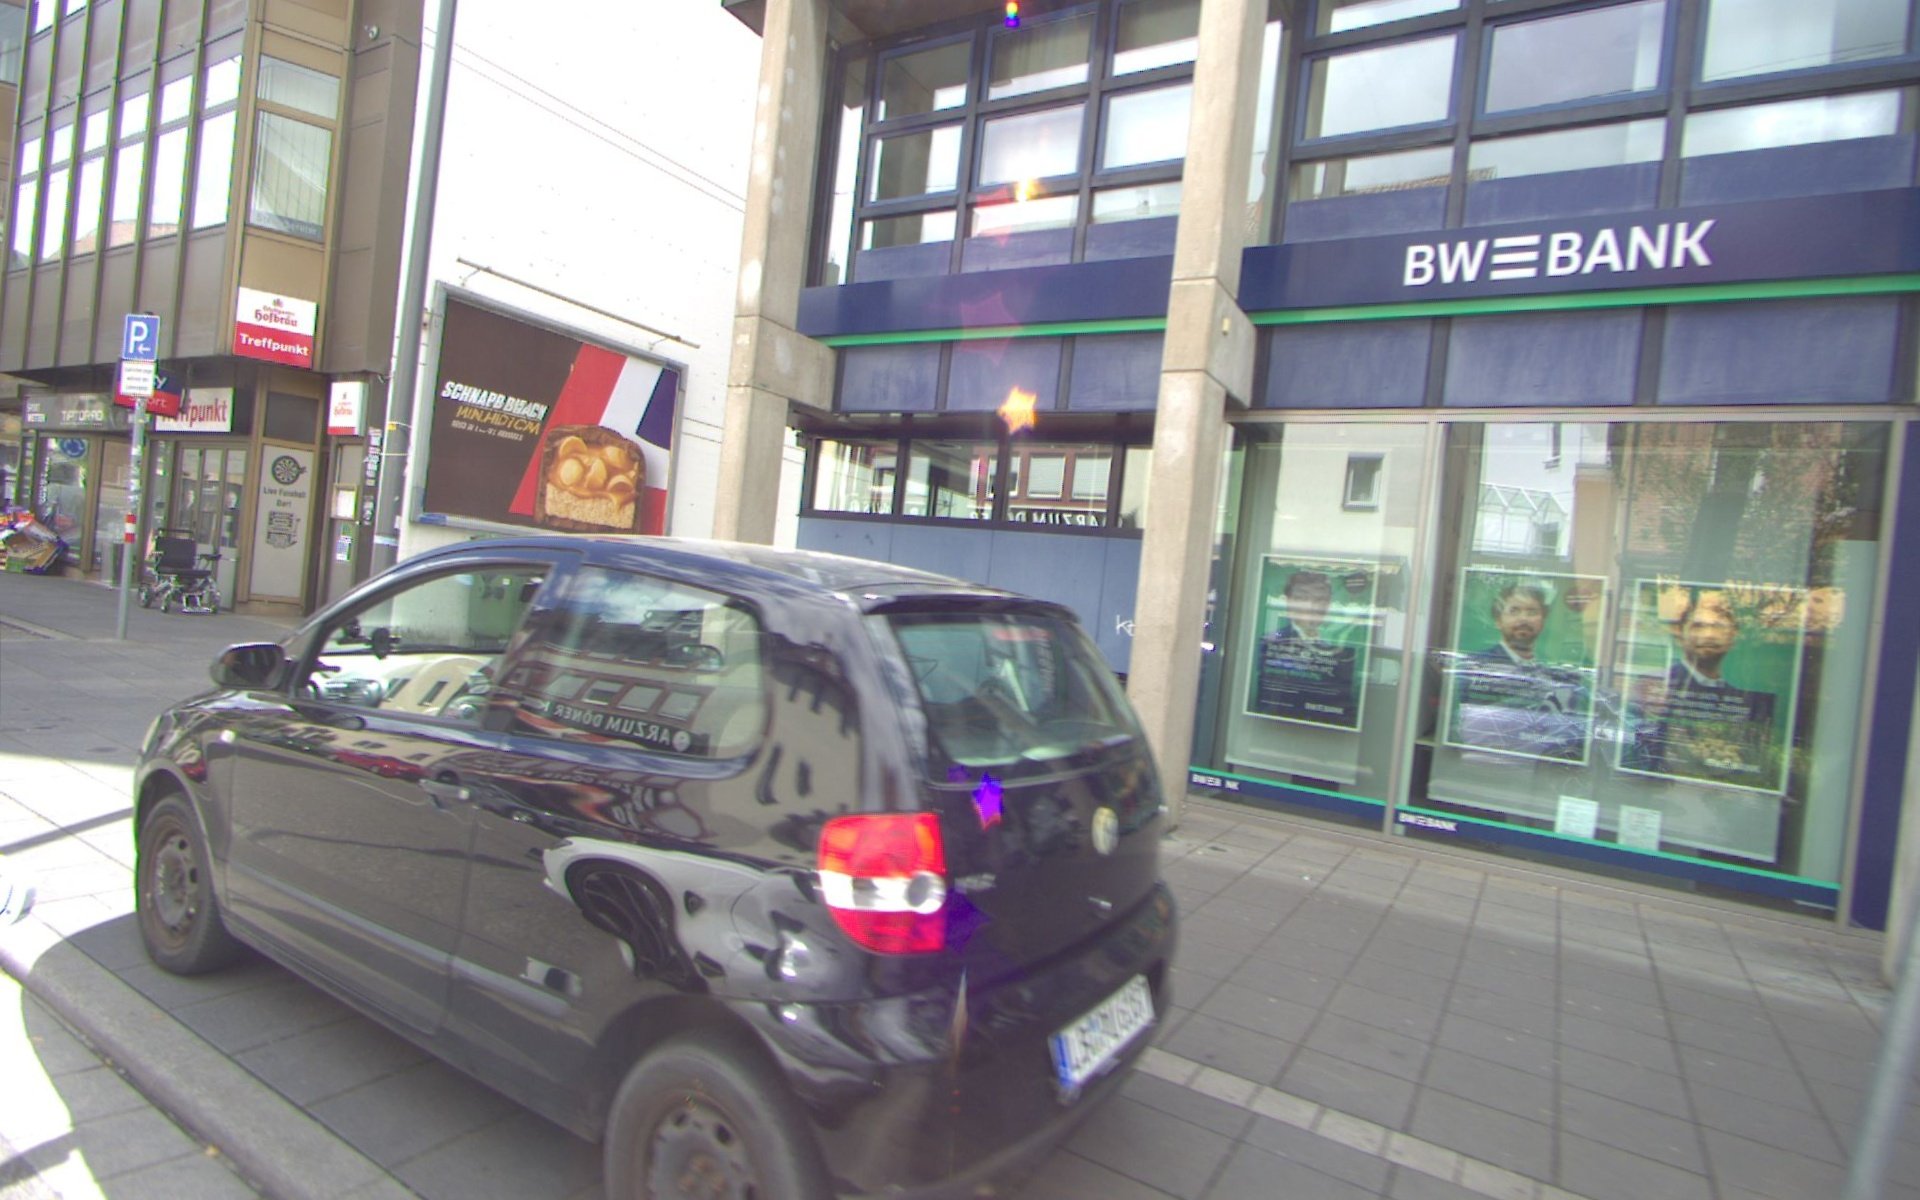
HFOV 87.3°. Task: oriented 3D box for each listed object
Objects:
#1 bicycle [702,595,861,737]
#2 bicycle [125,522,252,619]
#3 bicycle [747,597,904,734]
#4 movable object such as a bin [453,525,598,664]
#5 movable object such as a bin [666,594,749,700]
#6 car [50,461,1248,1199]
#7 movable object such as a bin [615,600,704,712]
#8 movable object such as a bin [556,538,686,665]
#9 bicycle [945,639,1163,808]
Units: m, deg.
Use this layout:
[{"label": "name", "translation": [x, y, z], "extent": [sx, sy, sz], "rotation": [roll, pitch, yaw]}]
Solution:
[{"label": "bicycle", "translation": [-1.677, 0.585, 9.347], "extent": [1.477, 1.095, 0.425], "rotation": [7, 2, 34]}, {"label": "bicycle", "translation": [-9.825, -0.377, 12.807], "extent": [1.452, 1.060, 0.721], "rotation": [6, -1, 32]}, {"label": "bicycle", "translation": [-1.327, 0.619, 9.789], "extent": [1.478, 1.132, 0.426], "rotation": [6, -1, 34]}, {"label": "movable object such as a bin", "translation": [-5.402, -0.057, 12.542], "extent": [1.015, 1.546, 1.143], "rotation": [6, -1, 34]}, {"label": "movable object such as a bin", "translation": [-2.606, 0.487, 10.382], "extent": [0.545, 1.011, 0.487], "rotation": [6, -1, 34]}, {"label": "car", "translation": [-1.226, 0.501, 3.278], "extent": [3.733, 1.552, 1.610], "rotation": [7, 1, 33]}, {"label": "movable object such as a bin", "translation": [-2.930, 0.547, 9.813], "extent": [0.545, 1.011, 0.487], "rotation": [6, -1, 34]}, {"label": "movable object such as a bin", "translation": [-4.618, 0.032, 13.744], "extent": [1.015, 1.546, 1.143], "rotation": [6, -1, 34]}, {"label": "bicycle", "translation": [0.761, 0.996, 8.448], "extent": [1.713, 1.132, 0.426], "rotation": [6, -1, 34]}]
